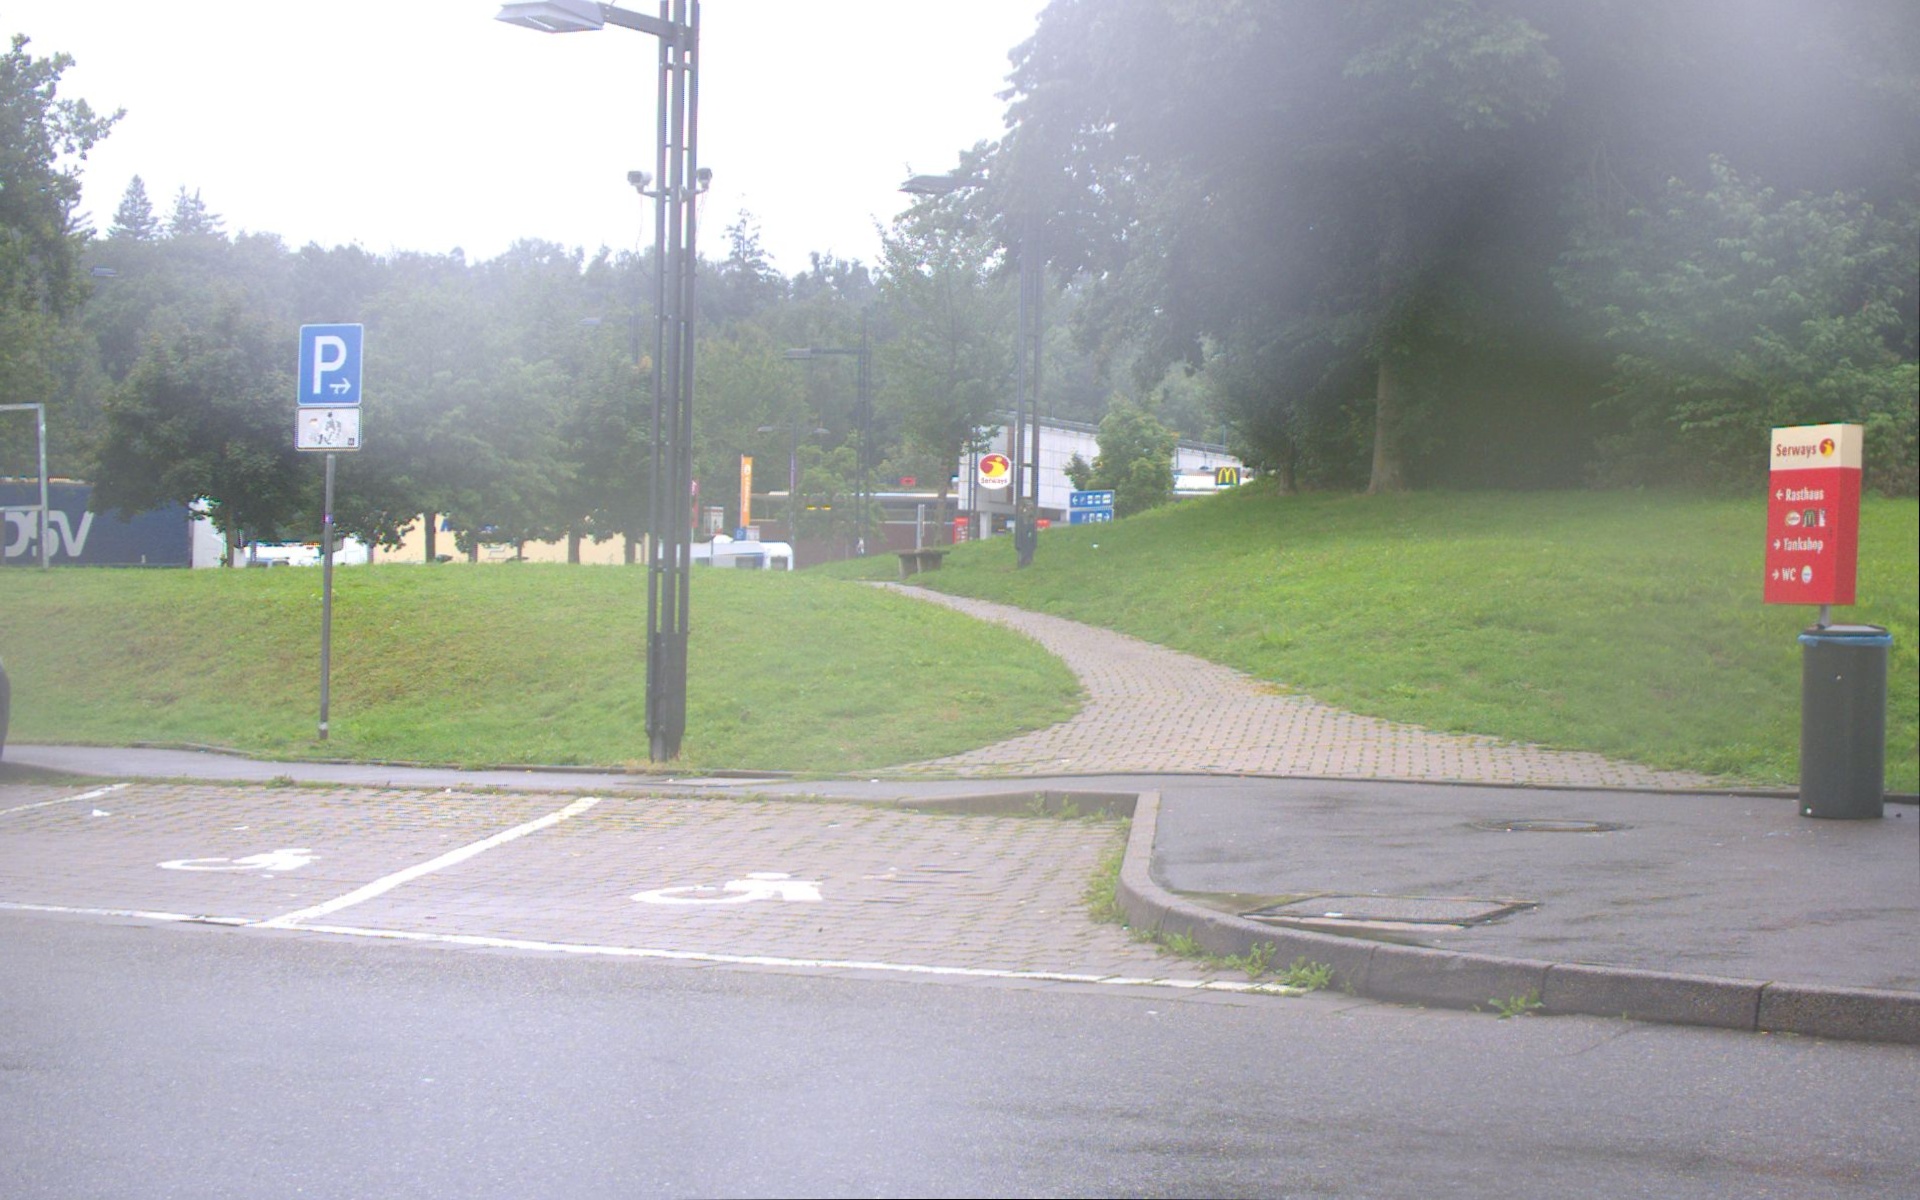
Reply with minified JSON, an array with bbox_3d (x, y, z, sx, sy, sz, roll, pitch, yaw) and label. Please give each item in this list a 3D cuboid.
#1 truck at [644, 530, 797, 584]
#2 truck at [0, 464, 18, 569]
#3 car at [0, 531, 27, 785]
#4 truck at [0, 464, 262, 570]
[{"bbox_3d":[-9.324,-1.667,133.817,5.413,2.007,2.364,1,1,25],"label":"truck"},{"bbox_3d":[-28.601,-2.349,94.670,2.189,2.910,5.380,1,1,24],"label":"truck"},{"bbox_3d":[-7.801,0.451,21.502,2.018,1.705,4.341,-1,1,12],"label":"car"},{"bbox_3d":[-25.462,-2.373,101.640,2.188,2.910,13.082,1,1,24],"label":"truck"}]
